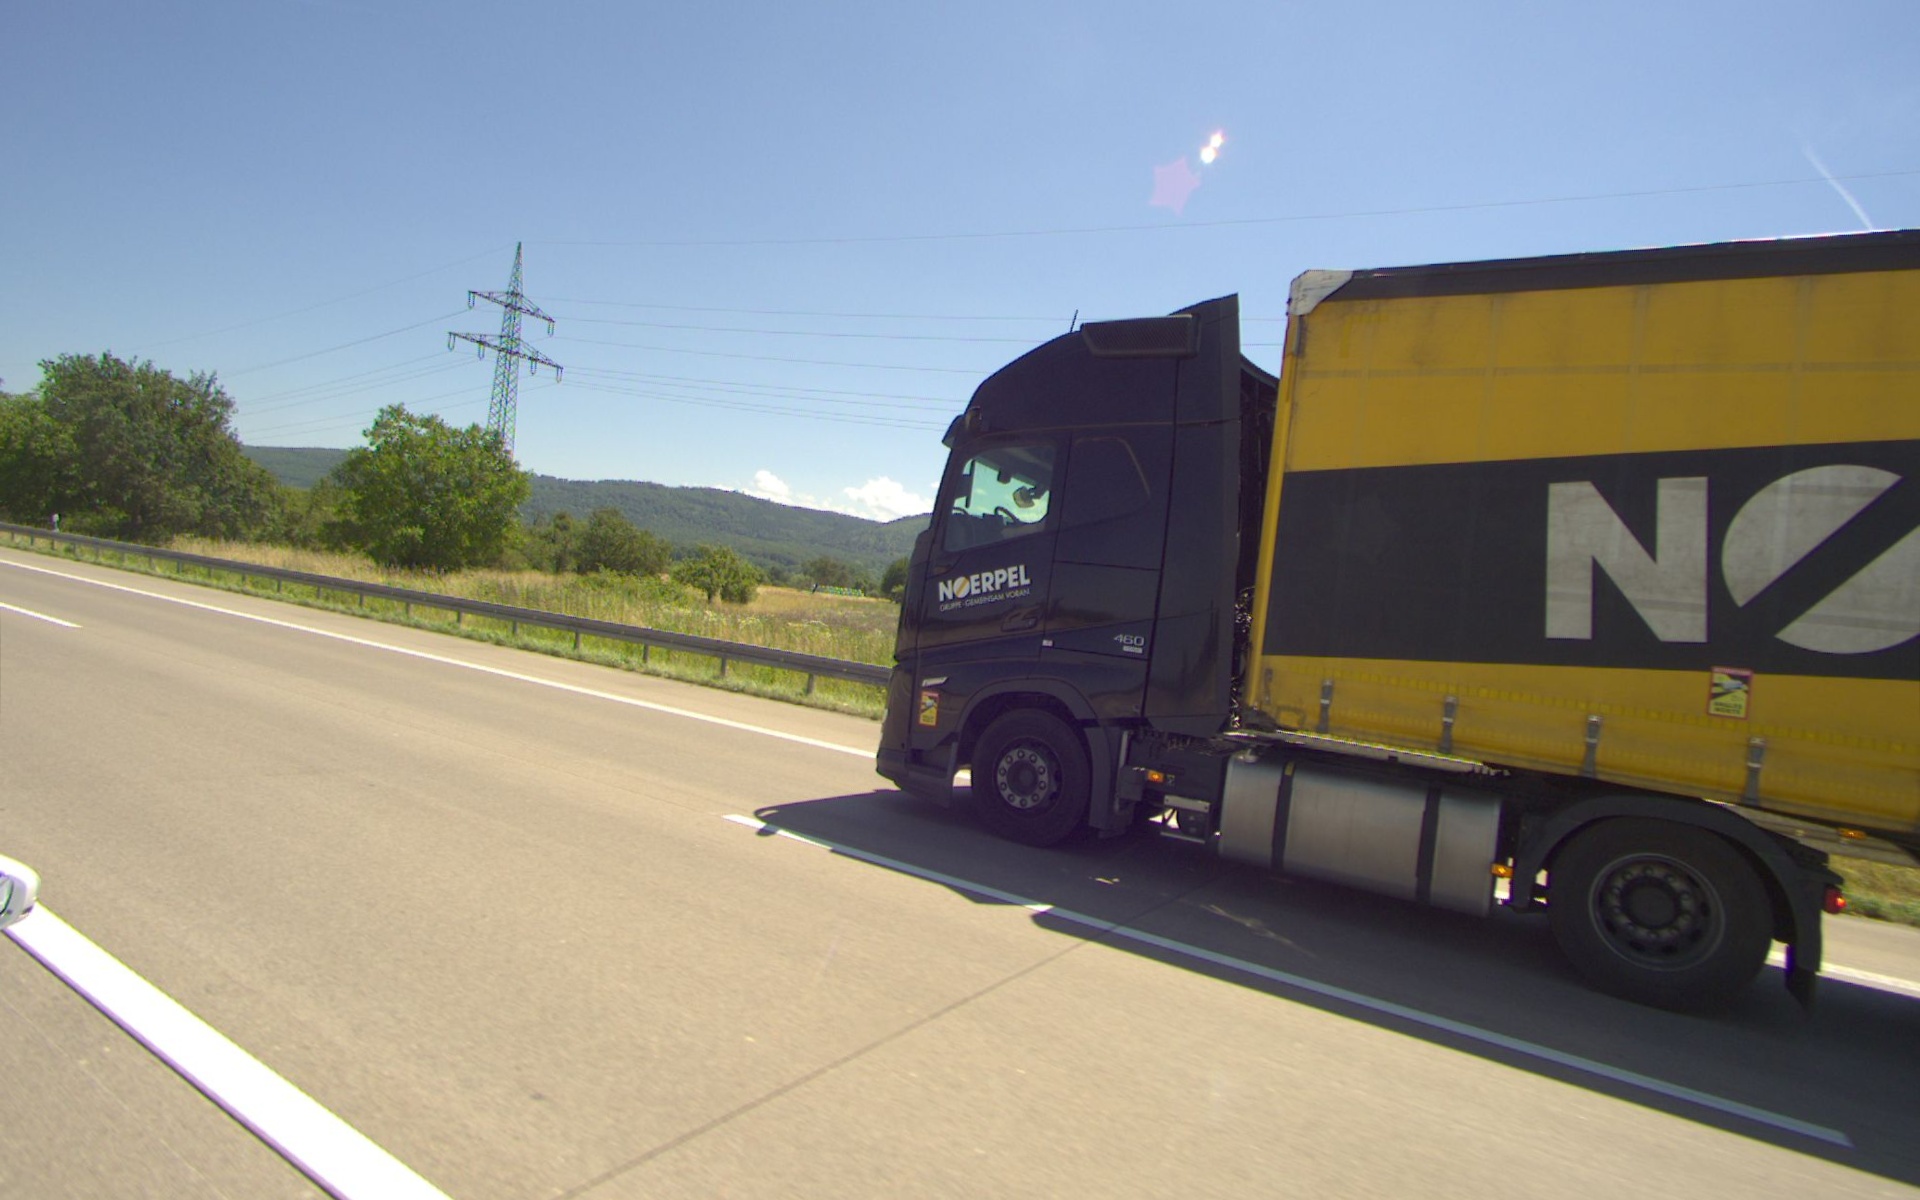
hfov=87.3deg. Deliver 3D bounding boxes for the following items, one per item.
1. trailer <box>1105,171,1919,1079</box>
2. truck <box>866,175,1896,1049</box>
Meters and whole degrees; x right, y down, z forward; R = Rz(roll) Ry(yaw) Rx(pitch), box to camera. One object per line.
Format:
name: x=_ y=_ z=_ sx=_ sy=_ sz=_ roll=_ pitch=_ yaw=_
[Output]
trailer: x=7.857 y=0.477 z=3.774 sx=14.502 sy=4.242 sz=1.997 roll=6 pitch=-1 yaw=32
truck: x=2.409 y=-0.112 z=7.182 sx=5.612 sy=4.242 sz=1.997 roll=6 pitch=-1 yaw=32
